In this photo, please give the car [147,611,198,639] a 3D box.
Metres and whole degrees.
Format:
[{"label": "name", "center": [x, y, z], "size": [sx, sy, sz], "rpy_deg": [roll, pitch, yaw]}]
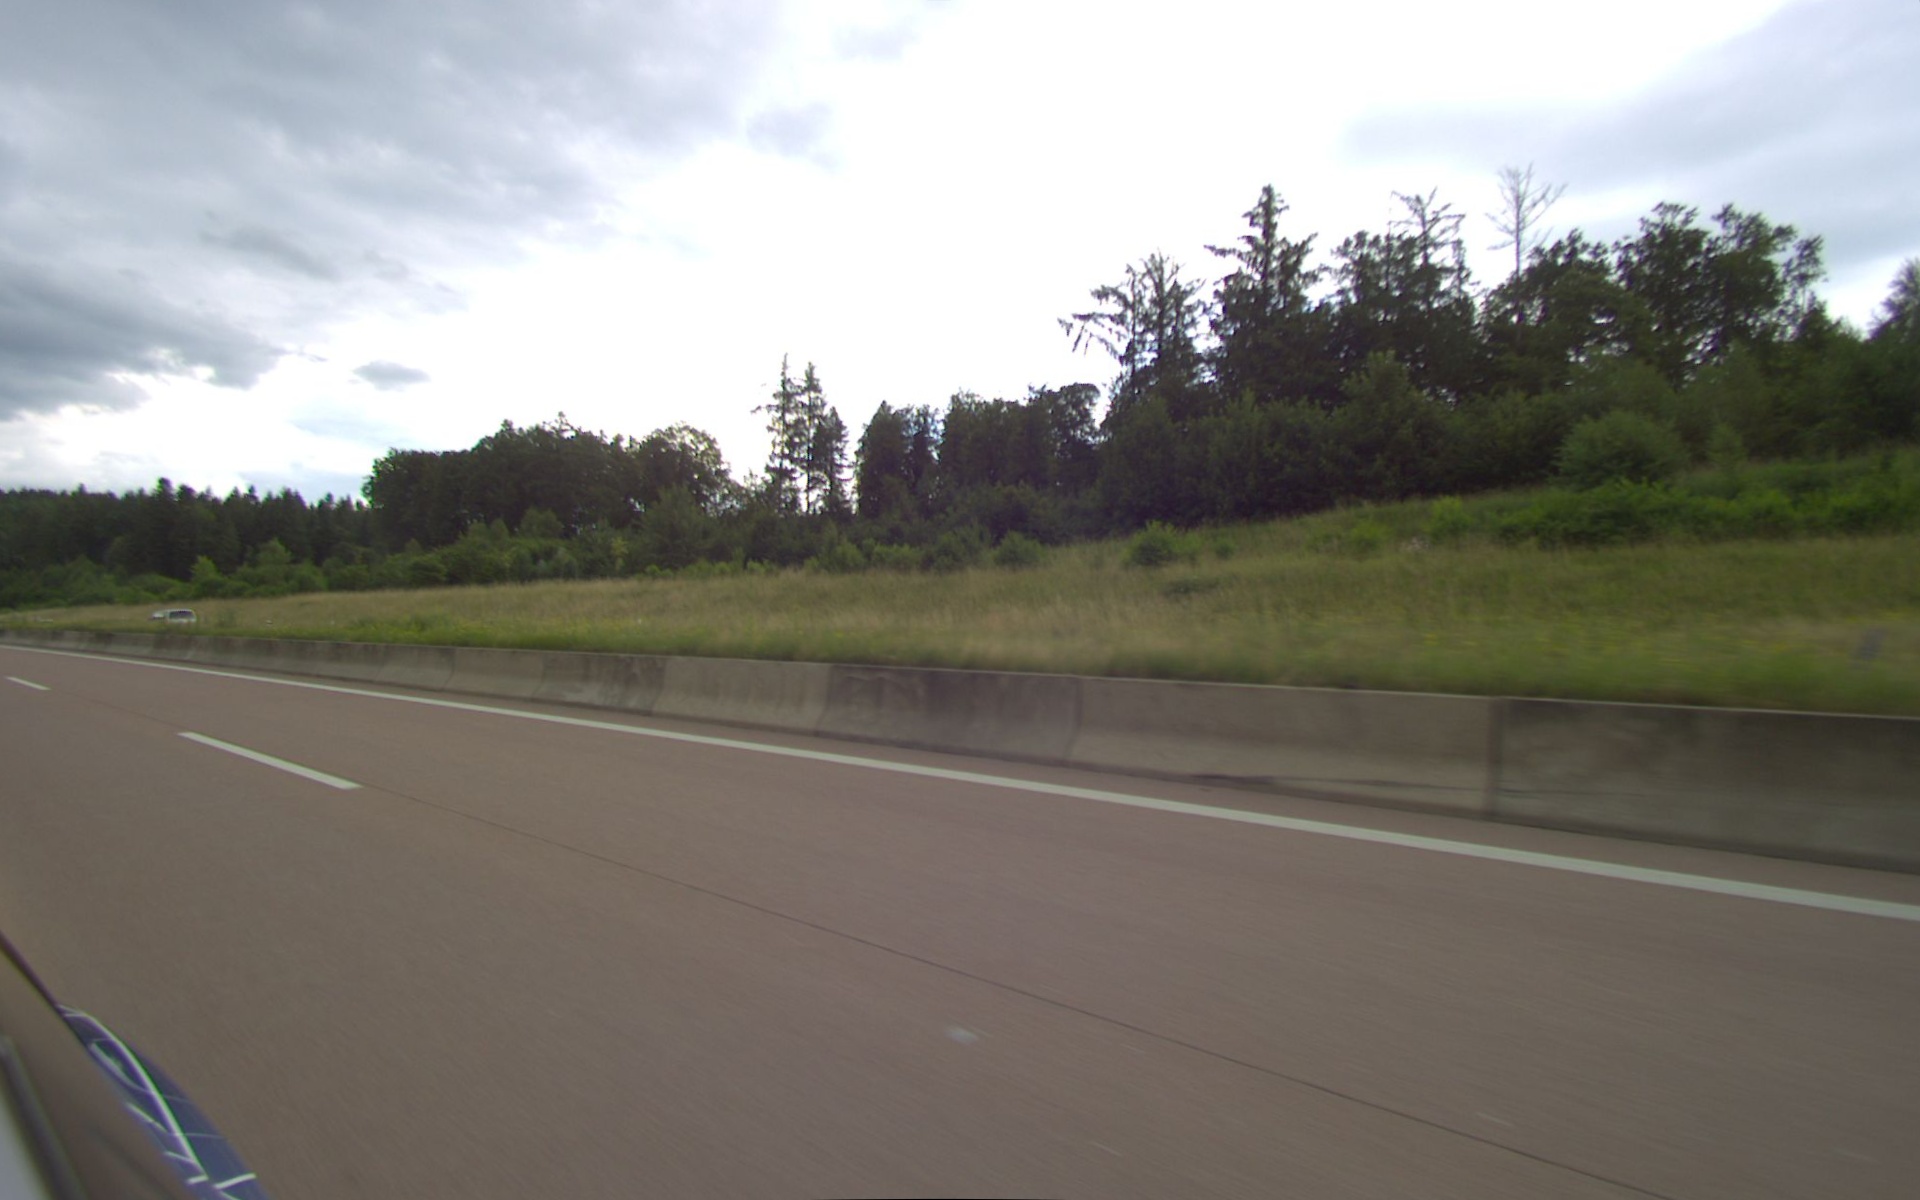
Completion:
[{"label": "car", "center": [-56.443, 1.784, 72.488], "size": [5.147, 1.889, 1.899], "rpy_deg": [-1, -1, 40]}]
